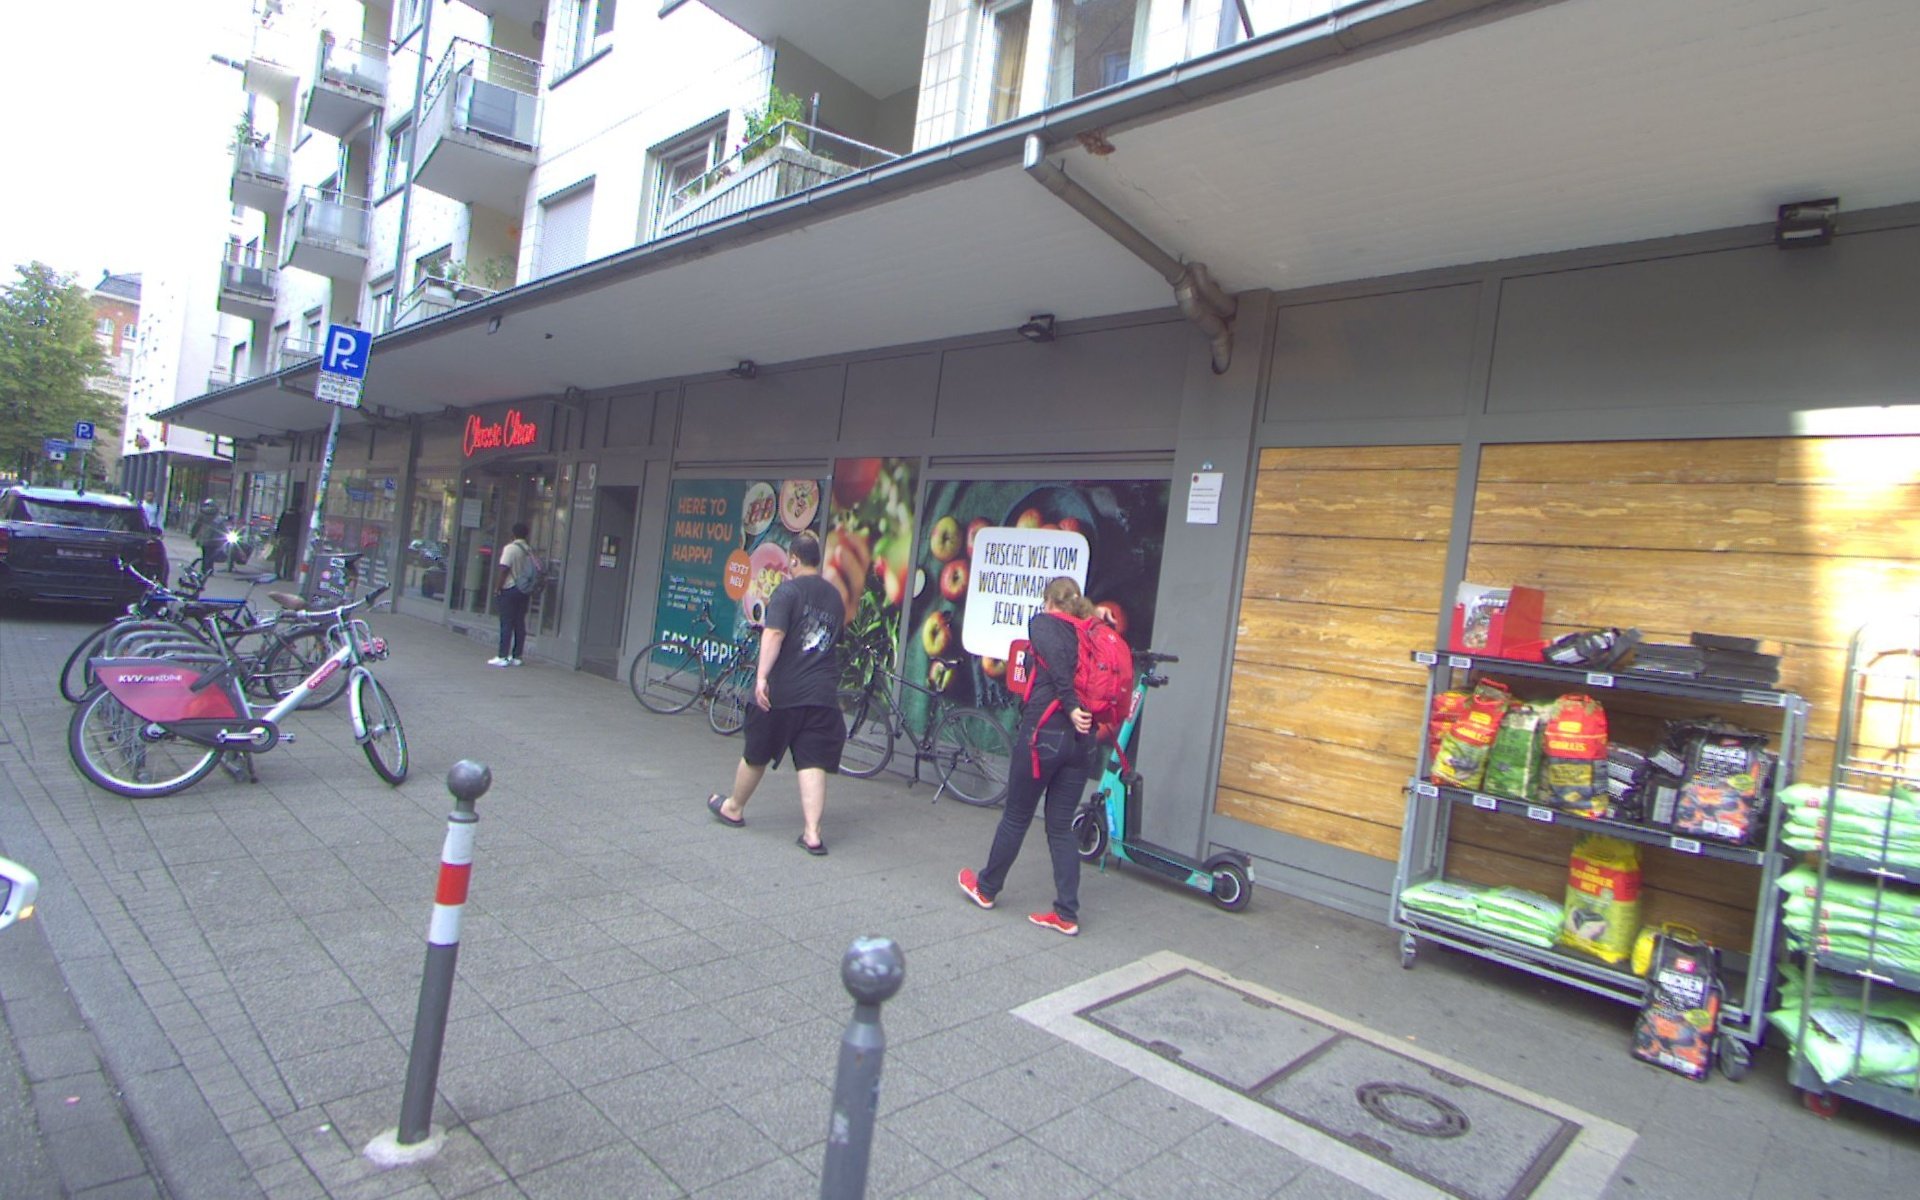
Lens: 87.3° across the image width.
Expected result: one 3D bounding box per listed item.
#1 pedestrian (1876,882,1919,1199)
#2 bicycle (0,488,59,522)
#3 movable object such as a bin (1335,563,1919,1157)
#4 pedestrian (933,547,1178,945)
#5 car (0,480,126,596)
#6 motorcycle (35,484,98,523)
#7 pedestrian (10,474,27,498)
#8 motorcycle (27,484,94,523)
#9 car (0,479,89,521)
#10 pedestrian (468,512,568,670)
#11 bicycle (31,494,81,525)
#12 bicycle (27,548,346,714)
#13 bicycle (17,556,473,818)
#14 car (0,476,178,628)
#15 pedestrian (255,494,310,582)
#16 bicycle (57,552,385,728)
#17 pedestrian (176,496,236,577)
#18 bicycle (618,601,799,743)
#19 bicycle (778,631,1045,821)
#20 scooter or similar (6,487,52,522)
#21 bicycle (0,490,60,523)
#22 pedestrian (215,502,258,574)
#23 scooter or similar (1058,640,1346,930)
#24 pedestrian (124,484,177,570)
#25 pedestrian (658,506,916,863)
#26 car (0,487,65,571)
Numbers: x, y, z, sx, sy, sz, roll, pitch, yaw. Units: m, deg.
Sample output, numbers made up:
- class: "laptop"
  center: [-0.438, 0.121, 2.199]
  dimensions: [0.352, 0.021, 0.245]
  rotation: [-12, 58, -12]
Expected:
- class: "pedestrian"
  center: [3.055, 0.858, 2.259]
  dimensions: [1.029, 1.859, 0.885]
  rotation: [5, 2, -9]
- class: "bicycle"
  center: [-38.805, -3.934, 41.938]
  dimensions: [1.787, 1.175, 0.494]
  rotation: [5, 3, -43]
- class: "movable object such as a bin"
  center: [2.895, 0.851, 3.932]
  dimensions: [0.777, 1.766, 2.392]
  rotation: [6, 1, -45]
- class: "pedestrian"
  center: [0.450, 0.631, 4.748]
  dimensions: [0.702, 1.654, 0.720]
  rotation: [8, 4, 43]
- class: "car"
  center: [-15.291, -1.098, 16.716]
  dimensions: [3.850, 1.597, 1.684]
  rotation: [7, 1, 44]
- class: "motorcycle"
  center: [-42.086, -4.540, 47.426]
  dimensions: [2.140, 1.551, 0.678]
  rotation: [5, 3, -41]
- class: "pedestrian"
  center: [-95.919, -11.661, 102.490]
  dimensions: [0.993, 2.257, 0.887]
  rotation: [8, 0, -45]
- class: "motorcycle"
  center: [-40.261, -4.293, 45.059]
  dimensions: [2.140, 1.454, 0.756]
  rotation: [5, 3, -41]
- class: "car"
  center: [-44.450, -4.820, 48.201]
  dimensions: [1.703, 1.566, 3.759]
  rotation: [6, 1, 34]
- class: "pedestrian"
  center: [-5.250, -0.108, 11.951]
  dimensions: [0.806, 1.770, 0.712]
  rotation: [8, 4, 43]
- class: "bicycle"
  center: [-41.290, -4.137, 45.943]
  dimensions: [1.658, 1.175, 0.550]
  rotation: [4, 3, -44]
- class: "bicycle"
  center: [-5.815, 0.243, 7.672]
  dimensions: [0.577, 1.085, 1.787]
  rotation: [8, 2, 34]
- class: "bicycle"
  center: [-3.878, 0.434, 5.570]
  dimensions: [0.895, 1.140, 1.877]
  rotation: [8, 3, 42]
- class: "car"
  center: [-11.534, -0.689, 12.997]
  dimensions: [1.786, 1.627, 3.874]
  rotation: [4, 3, -44]
- class: "pedestrian"
  center: [-15.387, -1.384, 22.857]
  dimensions: [0.699, 1.883, 0.642]
  rotation: [7, 1, -16]
- class: "bicycle"
  center: [-5.283, 0.289, 7.312]
  dimensions: [0.560, 1.085, 1.787]
  rotation: [8, 2, 34]
- class: "pedestrian"
  center: [-16.086, -1.356, 21.465]
  dimensions: [0.821, 1.608, 0.771]
  rotation: [6, 1, -44]
- class: "bicycle"
  center: [-2.343, 0.622, 9.246]
  dimensions: [1.760, 1.028, 0.739]
  rotation: [7, 3, 45]
- class: "bicycle"
  center: [-0.355, 0.847, 7.191]
  dimensions: [1.703, 1.056, 0.677]
  rotation: [6, 0, 25]
- class: "scooter or similar"
  center: [-34.659, -3.538, 37.454]
  dimensions: [1.190, 1.163, 0.377]
  rotation: [5, 4, -14]
- class: "bicycle"
  center: [-37.667, -3.783, 40.743]
  dimensions: [1.758, 1.114, 0.406]
  rotation: [5, 3, -43]
- class: "pedestrian"
  center: [-17.145, -1.465, 23.847]
  dimensions: [0.641, 1.609, 0.771]
  rotation: [4, 3, -43]
- class: "scooter or similar"
  center: [1.267, 0.909, 5.399]
  dimensions: [1.238, 1.229, 0.630]
  rotation: [8, 4, 42]
- class: "pedestrian"
  center: [-17.567, -1.592, 21.831]
  dimensions: [1.110, 1.749, 0.610]
  rotation: [8, 4, 39]
- class: "pedestrian"
  center: [-0.991, 0.418, 5.702]
  dimensions: [1.034, 1.770, 0.847]
  rotation: [8, 4, 43]
- class: "car"
  center: [-19.494, -1.542, 20.546]
  dimensions: [1.591, 1.457, 3.979]
  rotation: [6, 1, -44]
